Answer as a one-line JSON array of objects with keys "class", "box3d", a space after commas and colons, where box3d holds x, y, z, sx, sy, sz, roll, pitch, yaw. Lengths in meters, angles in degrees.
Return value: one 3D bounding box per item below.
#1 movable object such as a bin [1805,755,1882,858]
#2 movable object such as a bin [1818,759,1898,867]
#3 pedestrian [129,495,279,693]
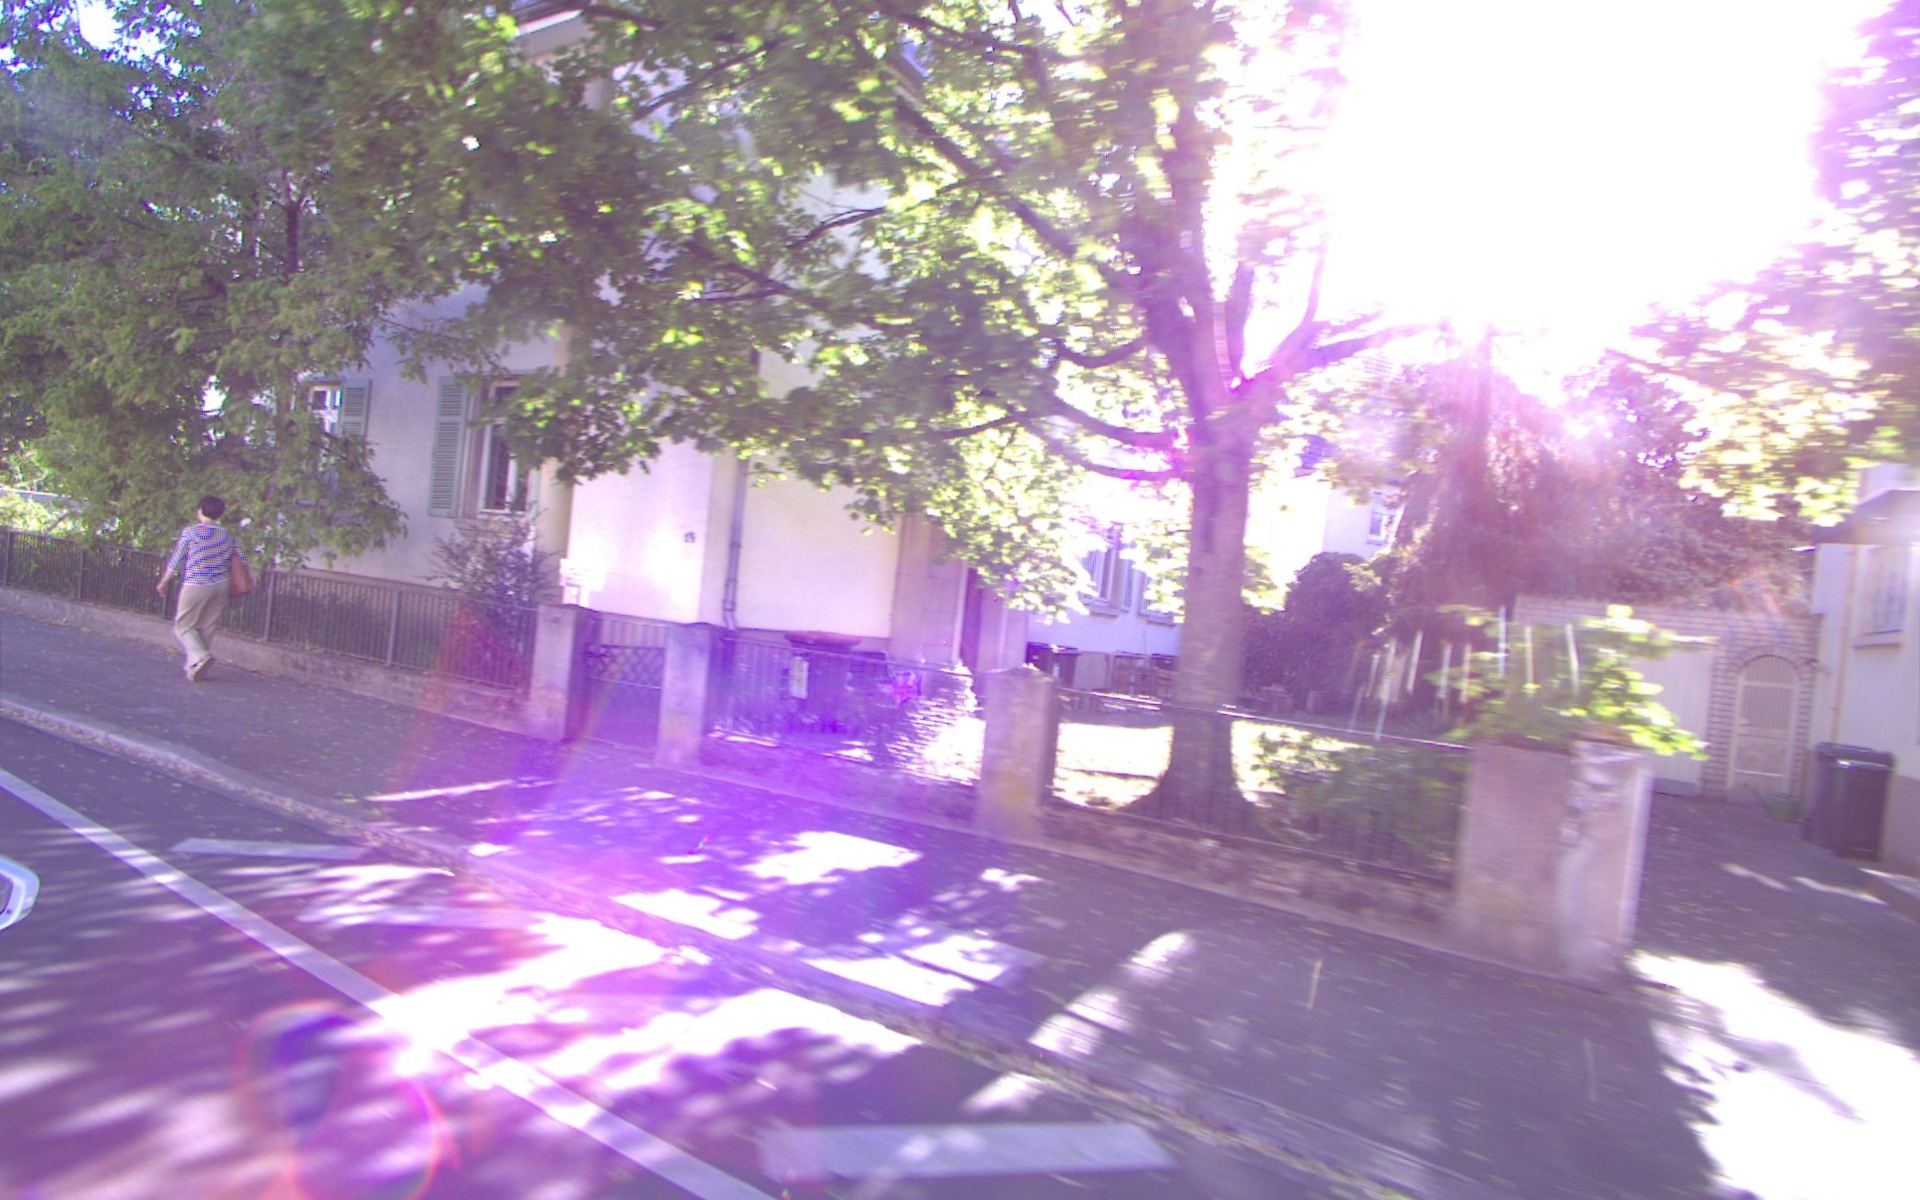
[{"class": "movable object such as a bin", "box3d": [9.174, 2.129, 10.460, 0.430, 0.944, 0.516, 6, 1, 31]}, {"class": "movable object such as a bin", "box3d": [8.905, 2.097, 9.990, 0.430, 0.944, 0.448, 6, 1, 31]}, {"class": "pedestrian", "box3d": [-7.017, -0.058, 9.351, 0.855, 1.710, 0.719, 6, 2, 27]}]
